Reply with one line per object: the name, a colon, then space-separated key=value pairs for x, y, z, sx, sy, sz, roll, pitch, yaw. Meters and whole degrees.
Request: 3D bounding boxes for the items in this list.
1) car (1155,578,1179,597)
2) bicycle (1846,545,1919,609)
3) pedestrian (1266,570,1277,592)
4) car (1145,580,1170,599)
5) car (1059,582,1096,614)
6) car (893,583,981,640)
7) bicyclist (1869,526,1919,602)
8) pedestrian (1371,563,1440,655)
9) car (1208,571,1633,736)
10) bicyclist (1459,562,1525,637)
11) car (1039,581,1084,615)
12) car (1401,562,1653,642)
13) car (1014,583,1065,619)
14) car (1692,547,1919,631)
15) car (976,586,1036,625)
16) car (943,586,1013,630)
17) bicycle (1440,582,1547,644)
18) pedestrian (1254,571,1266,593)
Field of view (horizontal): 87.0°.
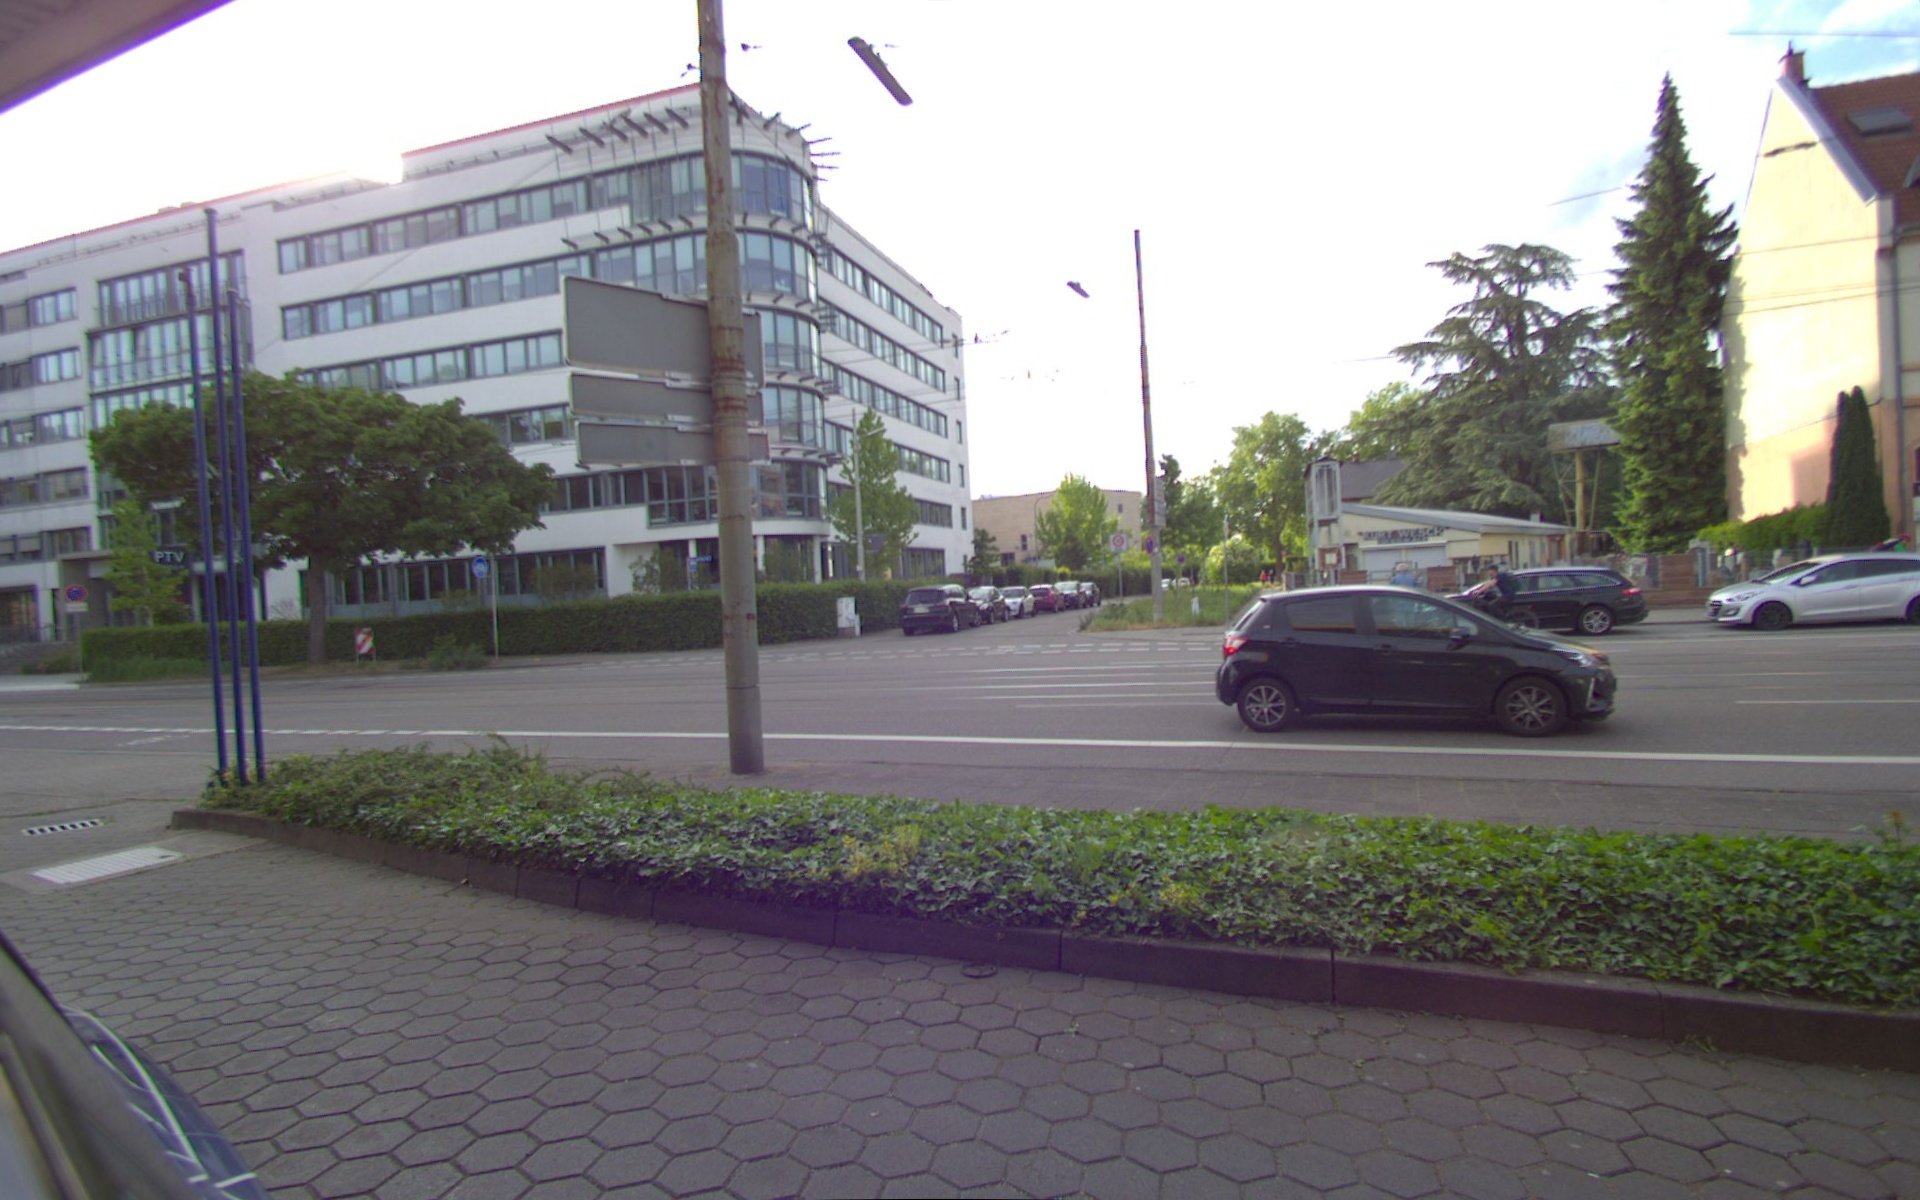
car: x=21.687 y=-1.326 z=106.158 sx=1.849 sy=1.748 sz=4.246 roll=-3 pitch=0 yaw=19
bicycle: x=21.125 y=-0.535 z=22.520 sx=1.903 sy=1.320 sz=0.862 roll=-2 pitch=3 yaw=18
pedestrian: x=27.583 y=-1.661 z=89.606 sx=0.899 sy=1.865 sz=0.942 roll=-3 pitch=-1 yaw=19
car: x=19.696 y=-1.077 z=100.788 sx=1.849 sy=1.748 sz=4.247 roll=-3 pitch=0 yaw=19
car: x=7.287 y=-0.159 z=62.491 sx=1.731 sy=1.748 sz=4.030 roll=-3 pitch=0 yaw=13
car: x=-0.728 y=0.357 z=35.411 sx=1.994 sy=1.704 sz=4.274 roll=-3 pitch=1 yaw=13
bicyclist: x=21.109 y=-0.803 z=22.508 sx=1.020 sy=1.617 sz=0.862 roll=-2 pitch=3 yaw=17
pedestrian: x=8.512 y=0.165 z=19.328 sx=1.001 sy=1.680 sz=0.960 roll=-3 pitch=0 yaw=33
car: x=4.745 y=0.562 z=10.844 sx=3.787 sy=1.482 sz=1.677 roll=-3 pitch=2 yaw=23
bicyclist: x=11.552 y=0.000 z=22.009 sx=1.075 sy=1.546 sz=0.677 roll=-3 pitch=-1 yaw=16
car: x=5.833 y=-0.150 z=57.717 sx=1.929 sy=1.748 sz=4.512 roll=-3 pitch=0 yaw=13
car: x=12.910 y=0.050 z=23.439 sx=4.742 sy=1.511 sz=2.001 roll=-3 pitch=1 yaw=21
car: x=4.173 y=0.022 z=52.488 sx=1.929 sy=1.650 sz=4.274 roll=-3 pitch=0 yaw=13
car: x=18.421 y=-0.250 z=21.378 sx=4.424 sy=1.494 sz=1.713 roll=-3 pitch=1 yaw=21
car: x=2.140 y=0.212 z=45.782 sx=1.929 sy=1.530 sz=4.274 roll=-3 pitch=0 yaw=13
car: x=0.792 y=0.288 z=40.971 sx=1.929 sy=1.551 sz=4.274 roll=-3 pitch=0 yaw=13
bicycle: x=11.567 y=0.287 z=22.005 sx=1.902 sy=1.231 sz=0.677 roll=-3 pitch=-1 yaw=16
pedestrian: x=26.633 y=-1.601 z=89.928 sx=0.899 sy=1.865 sz=0.942 roll=-3 pitch=-1 yaw=19
